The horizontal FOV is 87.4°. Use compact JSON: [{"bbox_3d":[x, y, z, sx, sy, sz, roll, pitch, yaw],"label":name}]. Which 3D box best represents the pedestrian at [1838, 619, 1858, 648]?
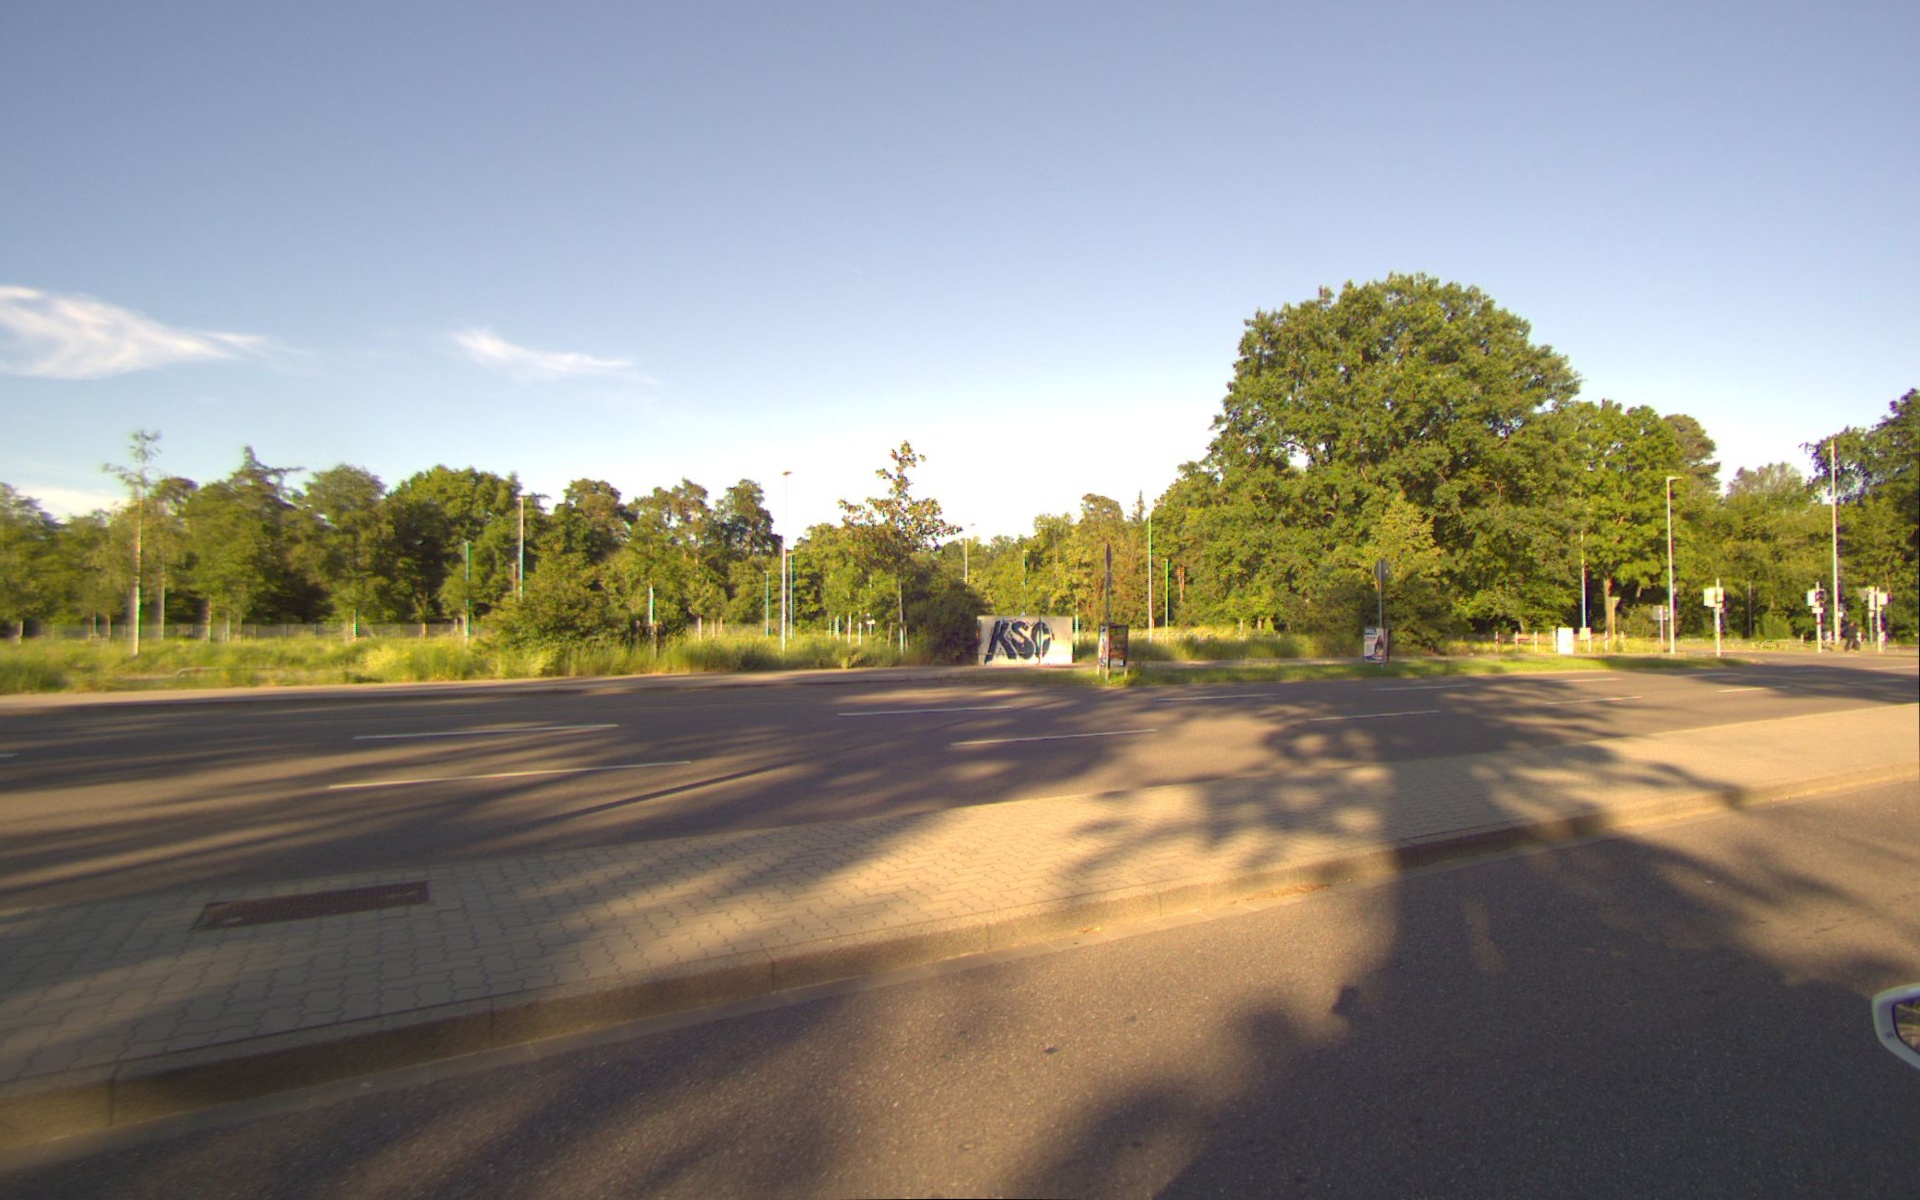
[{"bbox_3d":[48.221,1.805,54.547,0.636,1.580,0.539,-1,-2,19],"label":"pedestrian"}]
